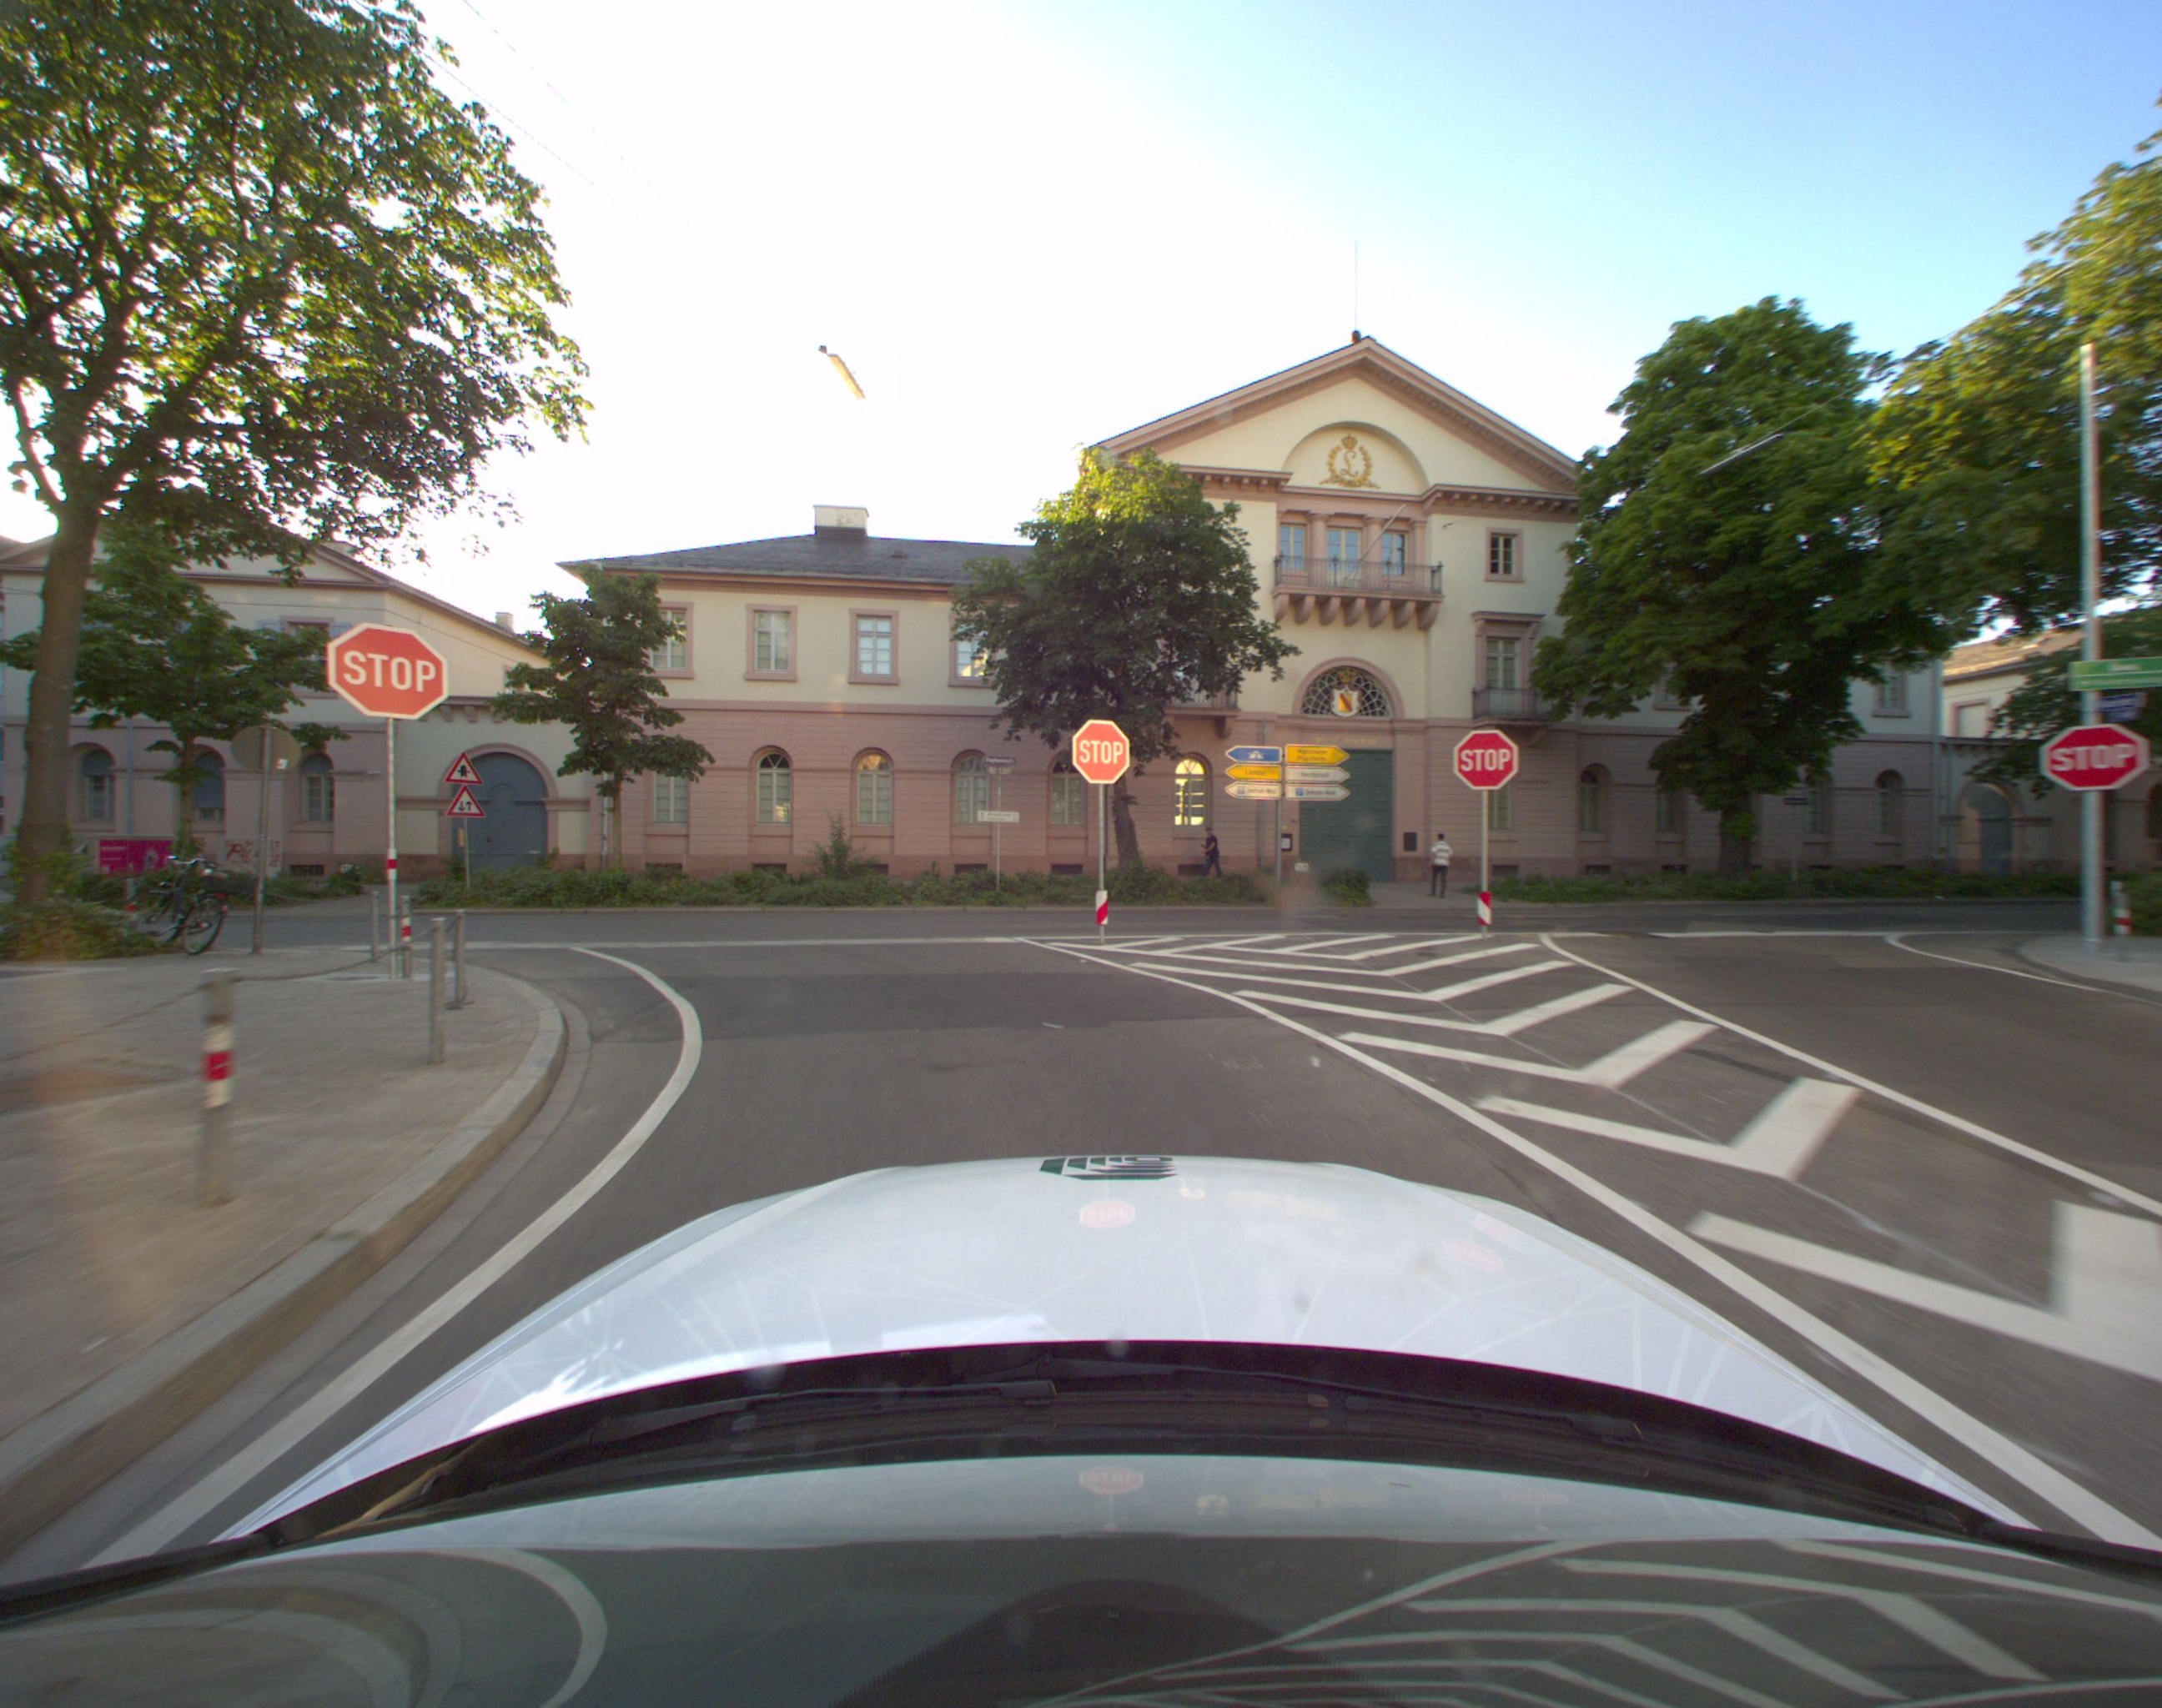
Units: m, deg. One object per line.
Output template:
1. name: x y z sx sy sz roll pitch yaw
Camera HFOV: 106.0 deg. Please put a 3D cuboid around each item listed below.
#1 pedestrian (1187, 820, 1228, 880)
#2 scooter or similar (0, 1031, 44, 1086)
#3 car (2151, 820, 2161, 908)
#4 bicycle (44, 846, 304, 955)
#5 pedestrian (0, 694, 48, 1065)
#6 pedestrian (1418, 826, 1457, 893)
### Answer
1. pedestrian: 3.945 -0.114 25.415 1.078 1.839 0.799 0 0 -8
2. scooter or similar: -5.434 1.034 3.782 0.419 0.207 0.874 1 0 -27
3. car: 20.997 0.211 13.240 1.822 1.615 3.988 0 1 -9
4. bicycle: -11.279 0.542 10.162 2.550 1.267 0.848 0 1 7
5. pedestrian: -5.429 0.120 3.591 0.855 1.738 1.252 1 2 -42
6. pedestrian: 10.073 0.143 22.997 0.790 1.832 0.935 0 1 37
